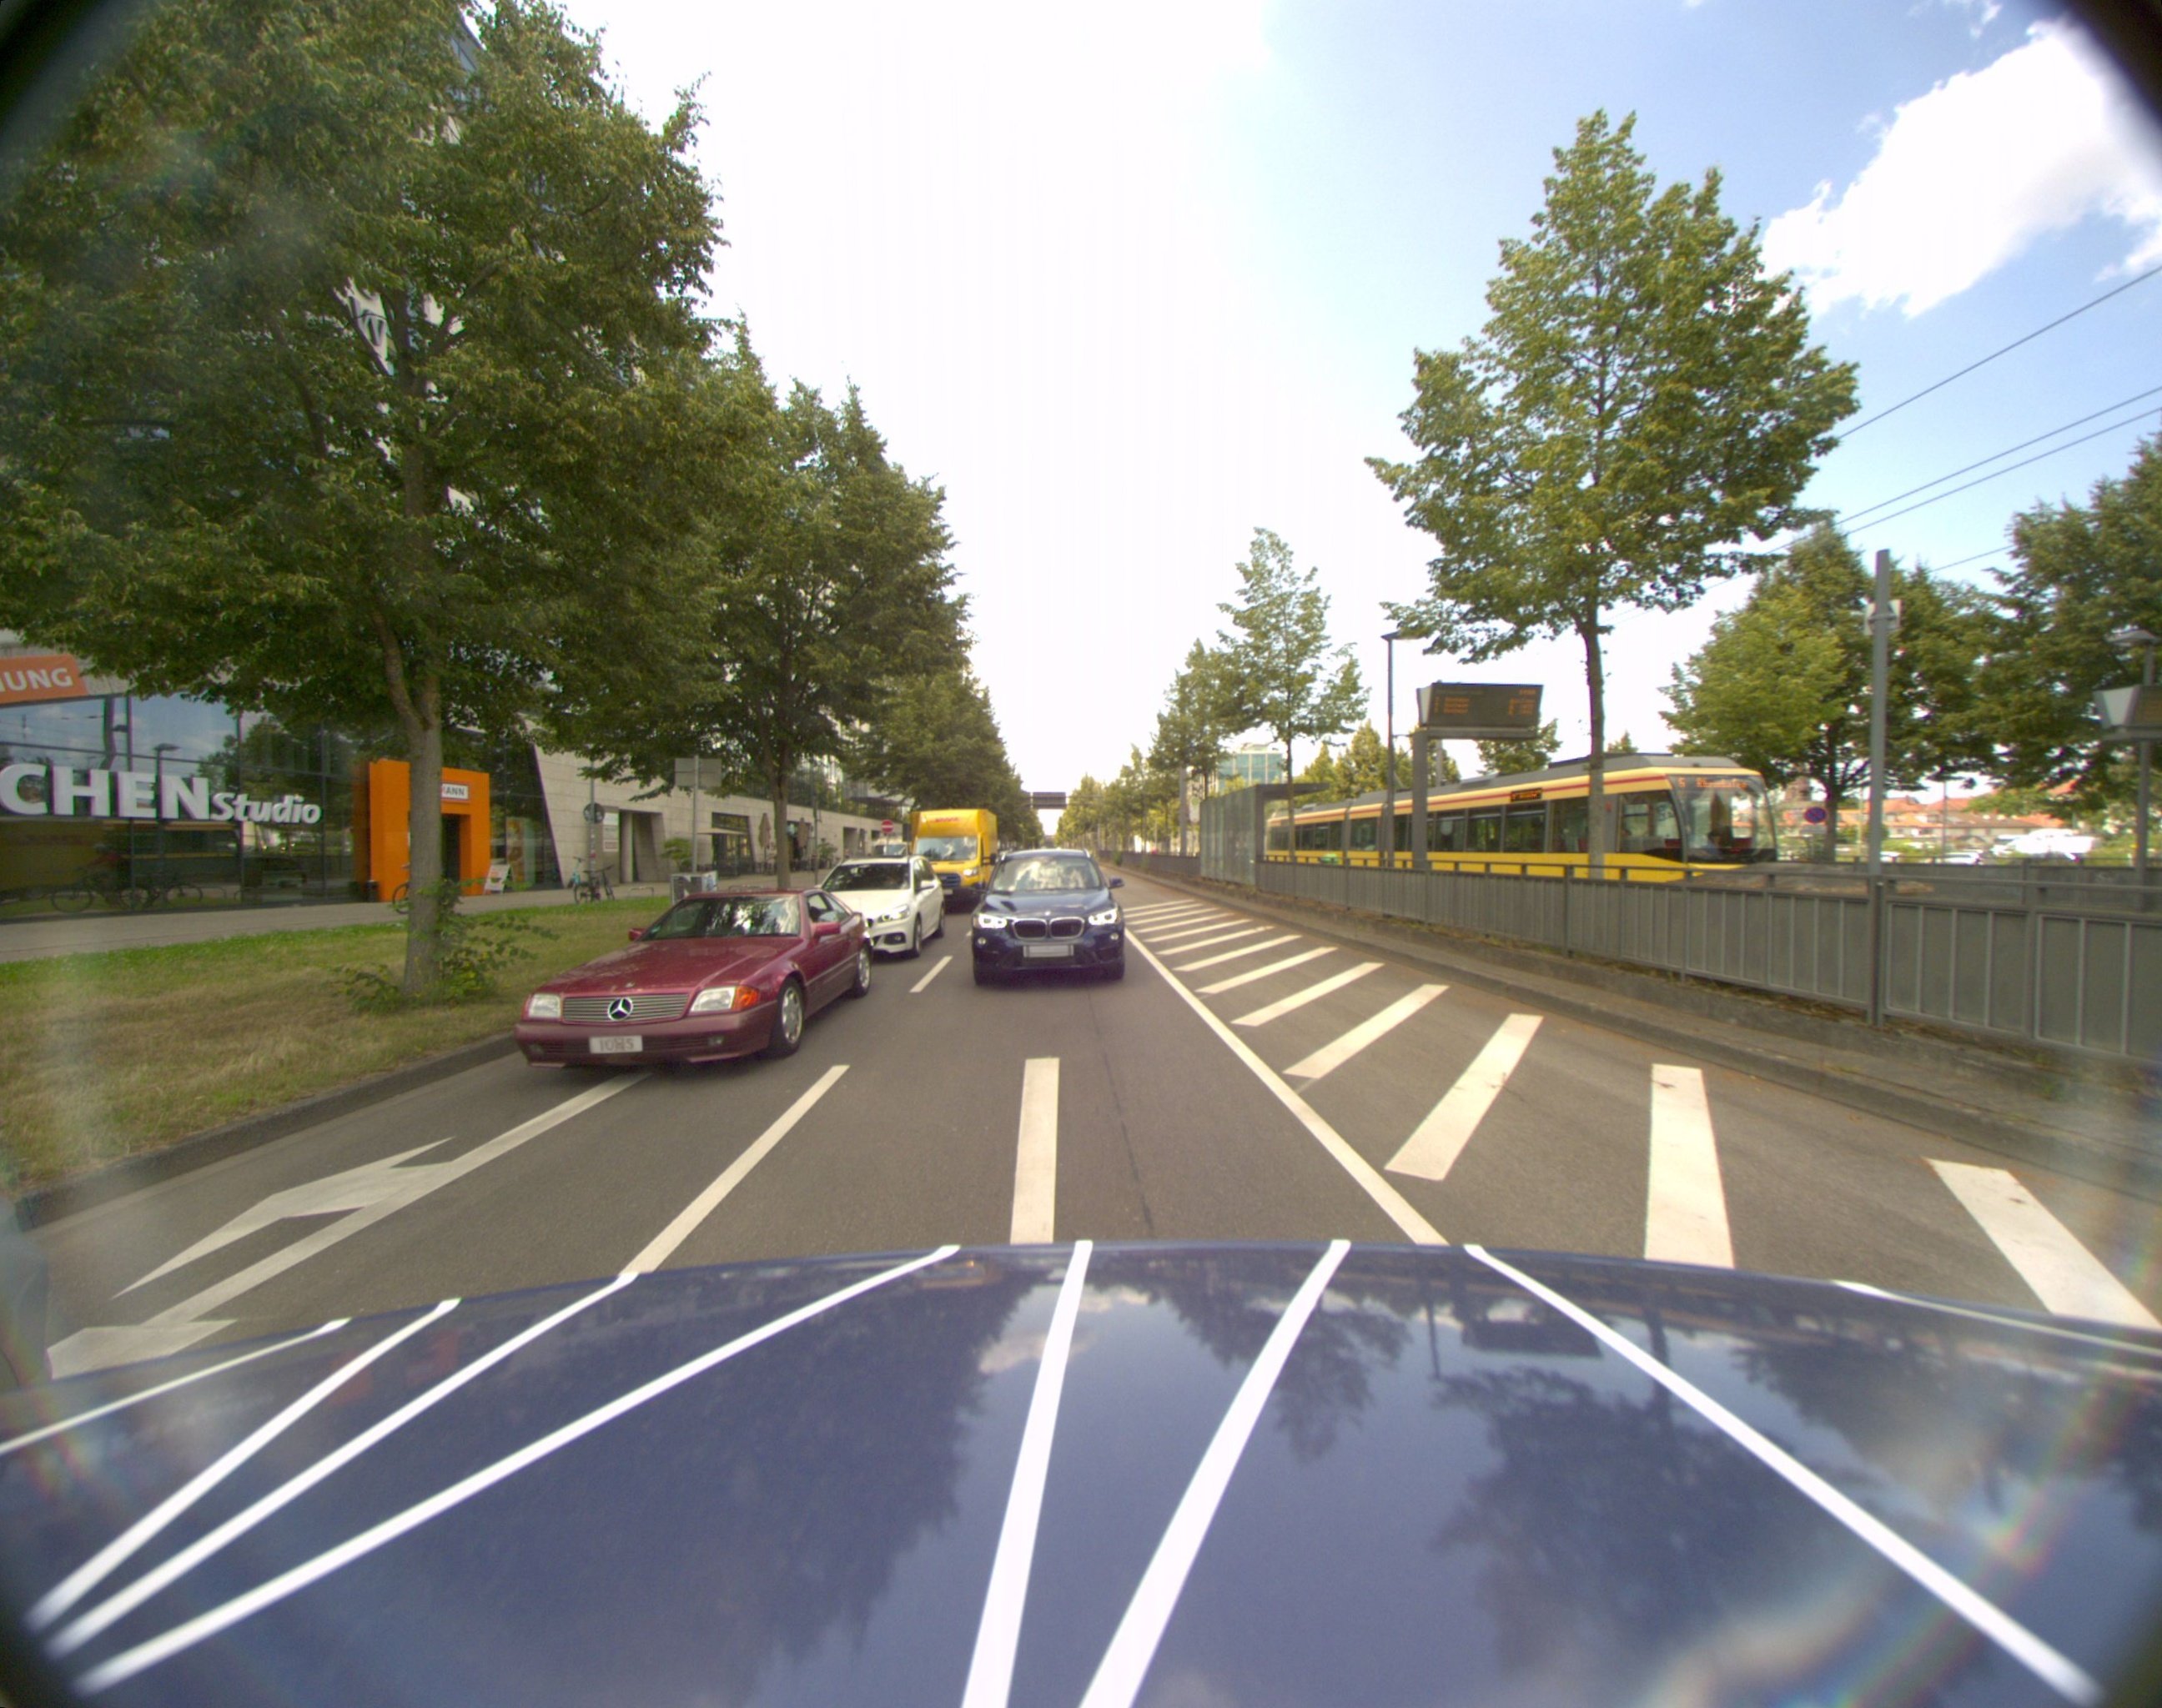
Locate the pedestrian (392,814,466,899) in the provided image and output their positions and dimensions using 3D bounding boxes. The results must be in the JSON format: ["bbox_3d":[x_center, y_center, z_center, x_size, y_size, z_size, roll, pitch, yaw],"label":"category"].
[{"bbox_3d":[-15.819,0.067,18.466,0.754,2.002,1.231,0,1,-3],"label":"pedestrian"}]

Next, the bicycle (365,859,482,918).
[{"bbox_3d":[-15.806,0.792,18.370,0.812,1.237,2.410,3,1,-4],"label":"bicycle"}]

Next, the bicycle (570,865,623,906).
[{"bbox_3d":[-13.474,0.858,21.171,0.516,1.082,1.748,0,0,-6],"label":"bicycle"}]

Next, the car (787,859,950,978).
[{"bbox_3d":[-3.371,0.926,12.870,1.674,1.589,4.126,-2,0,-2],"label":"car"}]

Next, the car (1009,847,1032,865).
[{"bbox_3d":[-5.990,0.161,75.271,1.823,1.641,3.999,-2,1,1],"label":"car"}]

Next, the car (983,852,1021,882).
[{"bbox_3d":[-4.989,0.807,48.708,1.999,1.751,4.295,-2,1,-1],"label":"car"}]

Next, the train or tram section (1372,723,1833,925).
[{"bbox_3d":[12.216,-0.574,20.758,2.850,3.718,13.472,0,0,-3],"label":"train or tram section"}]

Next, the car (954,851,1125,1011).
[{"bbox_3d":[-0.514,0.824,10.266,1.774,1.589,4.126,-2,1,-2],"label":"car"}]

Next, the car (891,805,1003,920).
[{"bbox_3d":[-3.770,0.173,22.916,2.284,2.837,7.253,-2,1,-2],"label":"car"}]

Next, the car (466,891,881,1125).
[{"bbox_3d":[-3.168,1.093,6.974,1.674,1.254,4.091,-2,0,-2],"label":"car"}]

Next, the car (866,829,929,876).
[{"bbox_3d":[-10.232,-0.129,42.930,2.162,2.380,6.275,-2,1,-3],"label":"car"}]

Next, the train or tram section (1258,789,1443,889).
[{"bbox_3d":[11.517,-0.555,34.928,2.694,3.617,14.660,0,0,-3],"label":"train or tram section"}]
